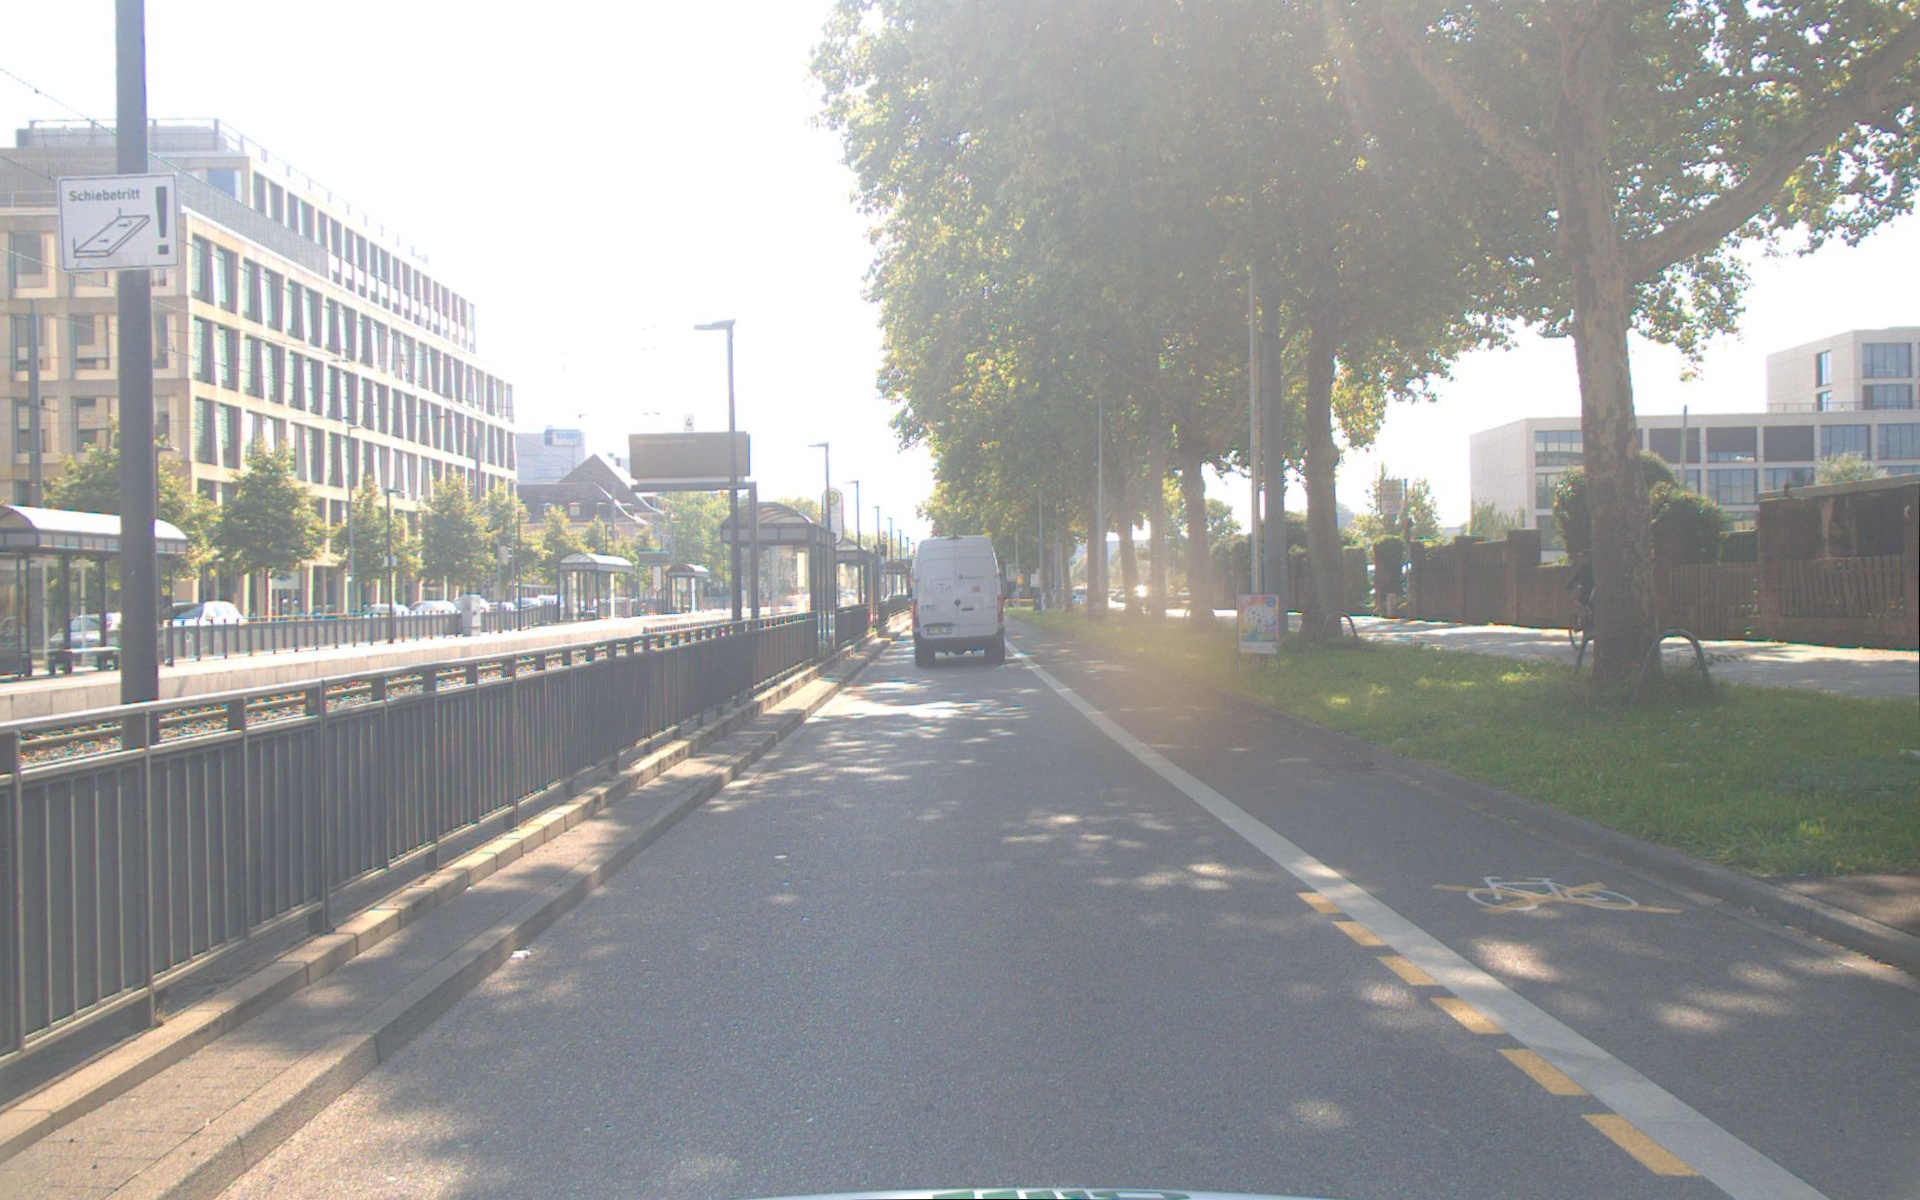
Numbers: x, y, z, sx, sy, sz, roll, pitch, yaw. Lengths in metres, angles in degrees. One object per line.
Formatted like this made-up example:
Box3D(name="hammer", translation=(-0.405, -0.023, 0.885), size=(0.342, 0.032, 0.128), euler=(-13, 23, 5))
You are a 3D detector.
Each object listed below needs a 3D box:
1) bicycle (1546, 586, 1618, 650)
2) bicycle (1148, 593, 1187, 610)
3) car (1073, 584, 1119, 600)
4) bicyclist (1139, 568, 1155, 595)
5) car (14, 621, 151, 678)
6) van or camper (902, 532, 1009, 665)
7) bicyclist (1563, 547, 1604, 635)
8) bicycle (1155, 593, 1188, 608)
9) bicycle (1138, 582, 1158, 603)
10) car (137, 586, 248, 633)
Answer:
Box3D(name="bicycle", translation=(11.226, 0.301, 29.897), size=(0.481, 1.108, 1.856), euler=(-1, 1, -3))
Box3D(name="bicycle", translation=(12.052, 0.080, 96.123), size=(2.135, 0.861, 0.503), euler=(-2, 0, -1))
Box3D(name="car", translation=(12.265, -0.751, 149.215), size=(3.906, 1.400, 1.999), euler=(0, -1, -1))
Box3D(name="bicyclist", translation=(9.287, -0.929, 82.028), size=(0.656, 1.298, 0.728), euler=(-2, 0, -2))
Box3D(name="car", translation=(-25.096, 1.386, 47.472), size=(1.650, 1.432, 4.372), euler=(-2, 0, -2))
Box3D(name="van or camper", translation=(-0.177, -0.043, 36.449), size=(2.073, 2.729, 5.246), euler=(0, 0, -4))
Box3D(name="bicyclist", translation=(11.237, -0.163, 29.817), size=(0.460, 1.566, 0.596), euler=(-1, 0, -4))
Box3D(name="bicycle", translation=(12.696, 0.026, 99.147), size=(1.893, 0.861, 0.372), euler=(-2, 0, -1))
Box3D(name="bicycle", translation=(9.328, -0.362, 82.027), size=(0.668, 1.022, 2.217), euler=(-2, 0, -2))
Box3D(name="car", translation=(-25.084, 0.283, 54.191), size=(1.650, 1.432, 4.369), euler=(-2, 0, -2))
